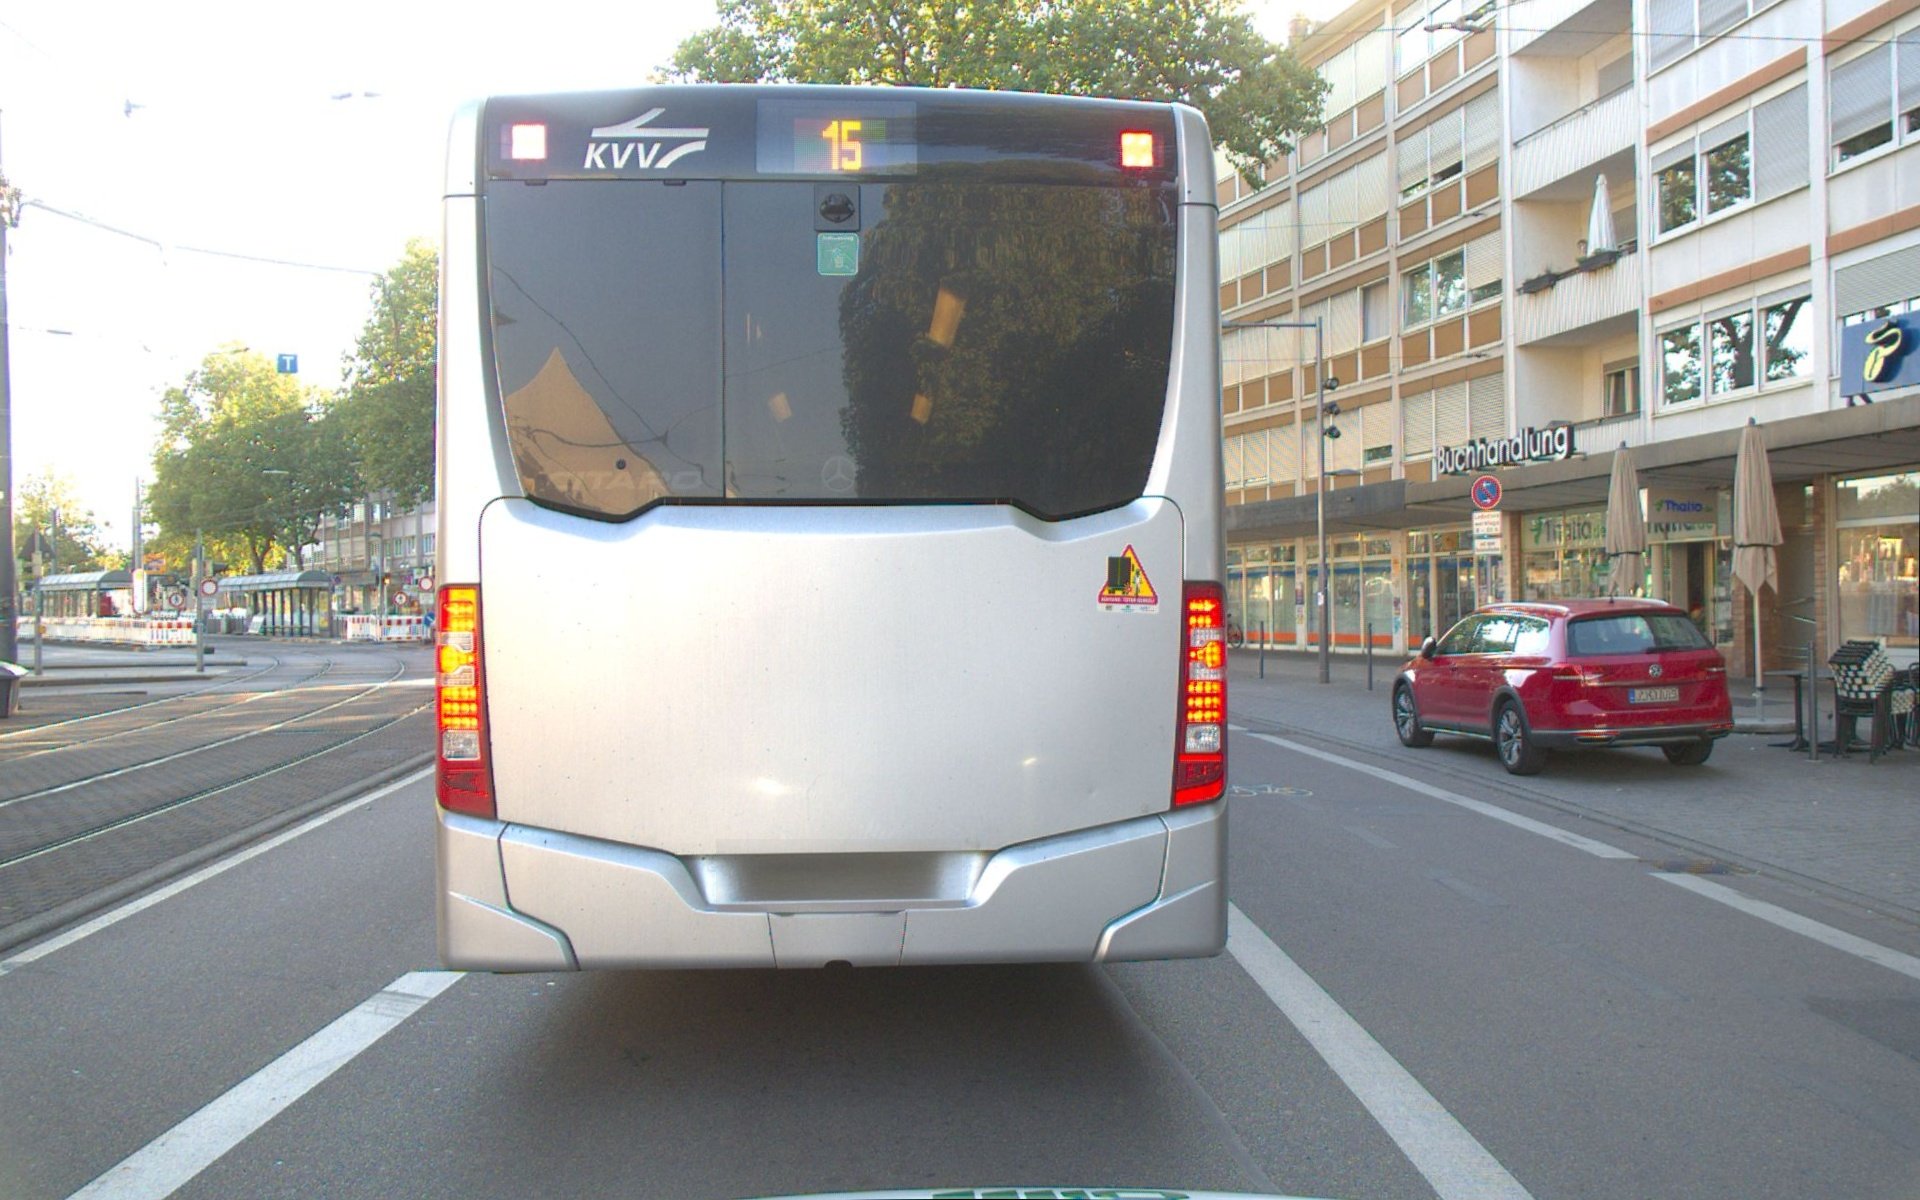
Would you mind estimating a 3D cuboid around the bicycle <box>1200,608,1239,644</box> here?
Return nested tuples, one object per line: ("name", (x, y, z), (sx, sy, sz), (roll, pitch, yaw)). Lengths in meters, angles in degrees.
("bicycle", (7.155, 0.713, 45.717), (0.406, 0.961, 1.431), (-1, 0, -20))

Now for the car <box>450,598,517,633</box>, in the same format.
("car", (-25.329, 0.824, 87.844), (1.982, 1.823, 3.940), (1, -1, -41))

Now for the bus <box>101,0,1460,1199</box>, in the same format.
("bus", (-0.406, -0.064, 8.161), (2.577, 3.081, 9.995), (0, 0, -1))

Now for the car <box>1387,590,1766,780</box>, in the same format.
("car", (5.697, 0.705, 15.922), (1.735, 1.508, 4.299), (-2, 0, -4))

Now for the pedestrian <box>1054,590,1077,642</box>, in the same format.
("pedestrian", (3.399, 0.521, 53.403), (0.527, 1.677, 0.612), (-1, 0, -18))

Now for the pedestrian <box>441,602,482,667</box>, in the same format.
("pedestrian", (-13.115, 0.911, 43.523), (0.977, 1.716, 0.642), (0, -2, -13))
